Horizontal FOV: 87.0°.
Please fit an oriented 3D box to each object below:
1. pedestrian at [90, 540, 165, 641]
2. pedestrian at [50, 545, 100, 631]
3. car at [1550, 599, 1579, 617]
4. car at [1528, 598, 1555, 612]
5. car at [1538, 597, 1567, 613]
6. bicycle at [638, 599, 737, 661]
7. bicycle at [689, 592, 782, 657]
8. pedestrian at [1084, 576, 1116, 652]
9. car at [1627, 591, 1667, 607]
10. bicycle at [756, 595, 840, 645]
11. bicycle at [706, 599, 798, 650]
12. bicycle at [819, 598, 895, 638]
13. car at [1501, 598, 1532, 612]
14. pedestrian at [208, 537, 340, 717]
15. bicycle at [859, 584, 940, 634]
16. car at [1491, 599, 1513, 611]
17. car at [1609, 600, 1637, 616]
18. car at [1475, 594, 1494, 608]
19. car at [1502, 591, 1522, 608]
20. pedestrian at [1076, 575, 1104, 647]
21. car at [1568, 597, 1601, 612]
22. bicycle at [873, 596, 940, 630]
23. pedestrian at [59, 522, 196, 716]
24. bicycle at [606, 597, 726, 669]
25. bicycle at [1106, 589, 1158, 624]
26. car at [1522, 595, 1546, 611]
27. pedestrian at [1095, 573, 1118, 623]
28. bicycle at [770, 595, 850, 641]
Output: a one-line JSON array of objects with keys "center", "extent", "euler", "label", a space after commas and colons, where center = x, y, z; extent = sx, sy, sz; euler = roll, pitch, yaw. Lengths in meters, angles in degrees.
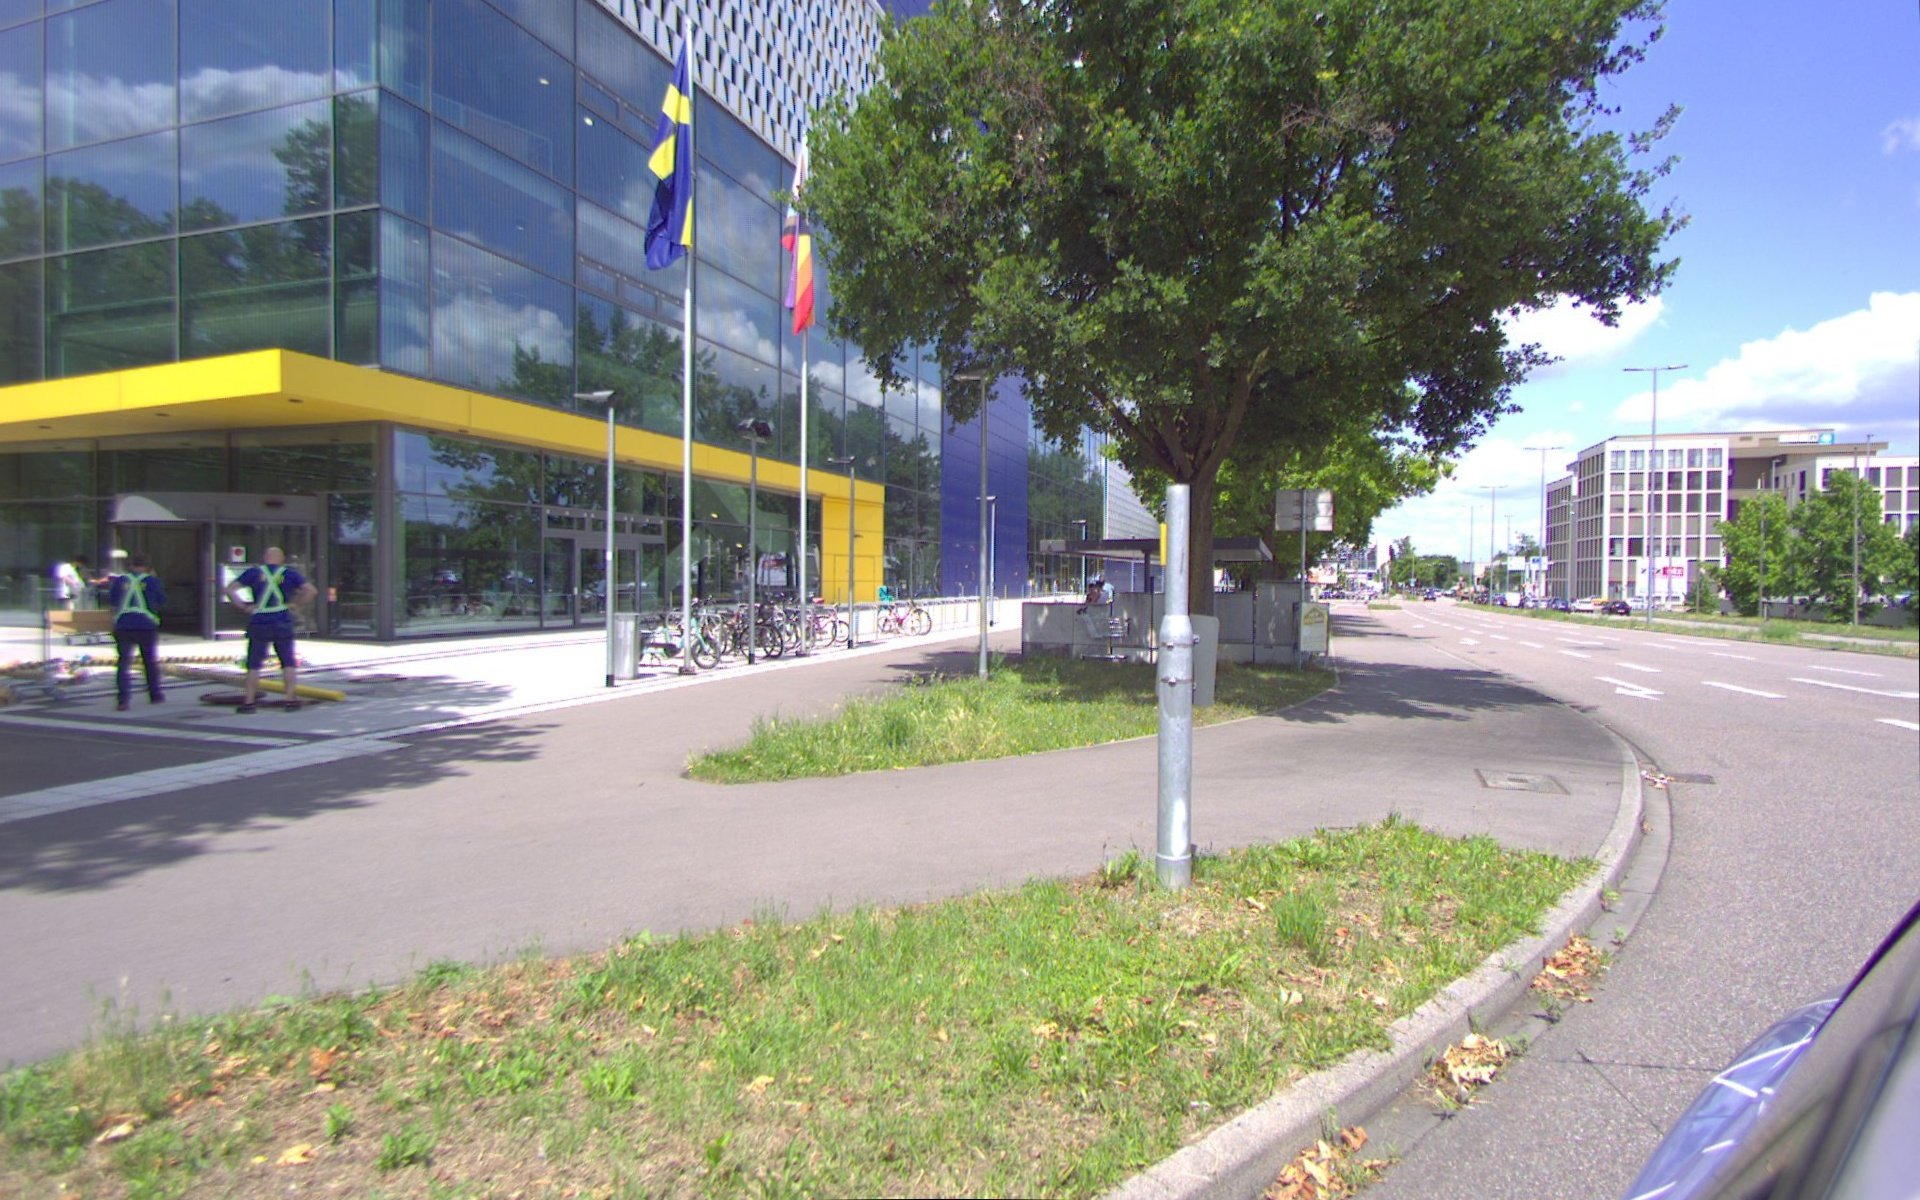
[{"center": [-16.212, -0.182, 19.736], "extent": [0.954, 1.910, 0.888], "euler": [1, 0, -30], "label": "pedestrian"}, {"center": [-19.923, -0.269, 22.776], "extent": [0.775, 1.909, 0.611], "euler": [1, 0, 30], "label": "pedestrian"}, {"center": [56.382, 0.712, 94.441], "extent": [1.724, 1.493, 3.650], "euler": [2, 2, 22], "label": "car"}, {"center": [62.387, 0.557, 108.668], "extent": [1.777, 1.419, 4.809], "euler": [2, 0, 22], "label": "car"}, {"center": [59.979, 0.450, 102.452], "extent": [1.777, 1.435, 4.640], "euler": [3, 2, 22], "label": "car"}, {"center": [-4.965, 0.532, 18.403], "extent": [1.847, 1.007, 0.420], "euler": [3, 1, 23], "label": "bicycle"}, {"center": [-4.265, 0.458, 19.227], "extent": [1.653, 1.172, 0.461], "euler": [2, 0, 7], "label": "bicycle"}, {"center": [3.164, 0.303, 22.927], "extent": [0.541, 1.683, 0.540], "euler": [1, 1, 32], "label": "pedestrian"}, {"center": [90.797, -0.164, 133.822], "extent": [3.958, 2.039, 1.983], "euler": [2, 1, 25], "label": "car"}, {"center": [-3.647, 0.435, 22.737], "extent": [1.842, 1.007, 0.422], "euler": [2, 2, 17], "label": "bicycle"}, {"center": [-4.264, 0.489, 20.709], "extent": [1.842, 1.007, 0.462], "euler": [1, 0, 17], "label": "bicycle"}, {"center": [-2.544, 0.435, 25.048], "extent": [1.842, 0.893, 0.421], "euler": [2, 1, 17], "label": "bicycle"}, {"center": [67.014, 0.622, 121.885], "extent": [1.765, 1.580, 3.766], "euler": [1, 0, 3], "label": "car"}, {"center": [-7.828, 0.272, 11.554], "extent": [1.004, 1.926, 0.962], "euler": [1, 1, 35], "label": "pedestrian"}, {"center": [-1.634, 0.217, 27.254], "extent": [2.130, 1.245, 0.713], "euler": [3, 1, 31], "label": "bicycle"}, {"center": [62.965, 0.552, 117.659], "extent": [1.777, 1.267, 4.274], "euler": [2, 0, 22], "label": "car"}, {"center": [63.036, 0.738, 96.255], "extent": [1.607, 1.488, 4.081], "euler": [1, 1, 25], "label": "car"}, {"center": [66.839, 0.164, 129.063], "extent": [1.778, 1.665, 4.136], "euler": [1, 0, 24], "label": "car"}, {"center": [69.717, -0.046, 127.822], "extent": [1.843, 2.069, 3.547], "euler": [1, 0, 24], "label": "car"}, {"center": [3.095, 0.264, 24.052], "extent": [0.539, 1.683, 0.475], "euler": [1, 0, 19], "label": "pedestrian"}, {"center": [68.330, 0.483, 110.765], "extent": [1.599, 1.491, 4.343], "euler": [1, 0, 12], "label": "car"}, {"center": [-1.515, 0.358, 28.449], "extent": [1.846, 0.893, 0.467], "euler": [2, 0, 22], "label": "bicycle"}, {"center": [-9.594, 0.184, 11.669], "extent": [1.004, 2.097, 0.962], "euler": [1, 2, 35], "label": "pedestrian"}, {"center": [-4.962, 0.546, 17.109], "extent": [1.891, 1.121, 0.504], "euler": [1, 2, 3], "label": "bicycle"}, {"center": [6.017, 0.221, 35.465], "extent": [0.566, 1.121, 2.017], "euler": [1, 2, -31], "label": "bicycle"}, {"center": [65.098, 0.347, 114.741], "extent": [1.777, 1.723, 4.195], "euler": [1, 0, 22], "label": "car"}, {"center": [5.229, -0.088, 36.146], "extent": [0.622, 1.742, 0.525], "euler": [0, 2, -29], "label": "pedestrian"}, {"center": [-3.549, 0.422, 23.936], "extent": [1.842, 1.007, 0.421], "euler": [2, 1, 17], "label": "bicycle"}]
